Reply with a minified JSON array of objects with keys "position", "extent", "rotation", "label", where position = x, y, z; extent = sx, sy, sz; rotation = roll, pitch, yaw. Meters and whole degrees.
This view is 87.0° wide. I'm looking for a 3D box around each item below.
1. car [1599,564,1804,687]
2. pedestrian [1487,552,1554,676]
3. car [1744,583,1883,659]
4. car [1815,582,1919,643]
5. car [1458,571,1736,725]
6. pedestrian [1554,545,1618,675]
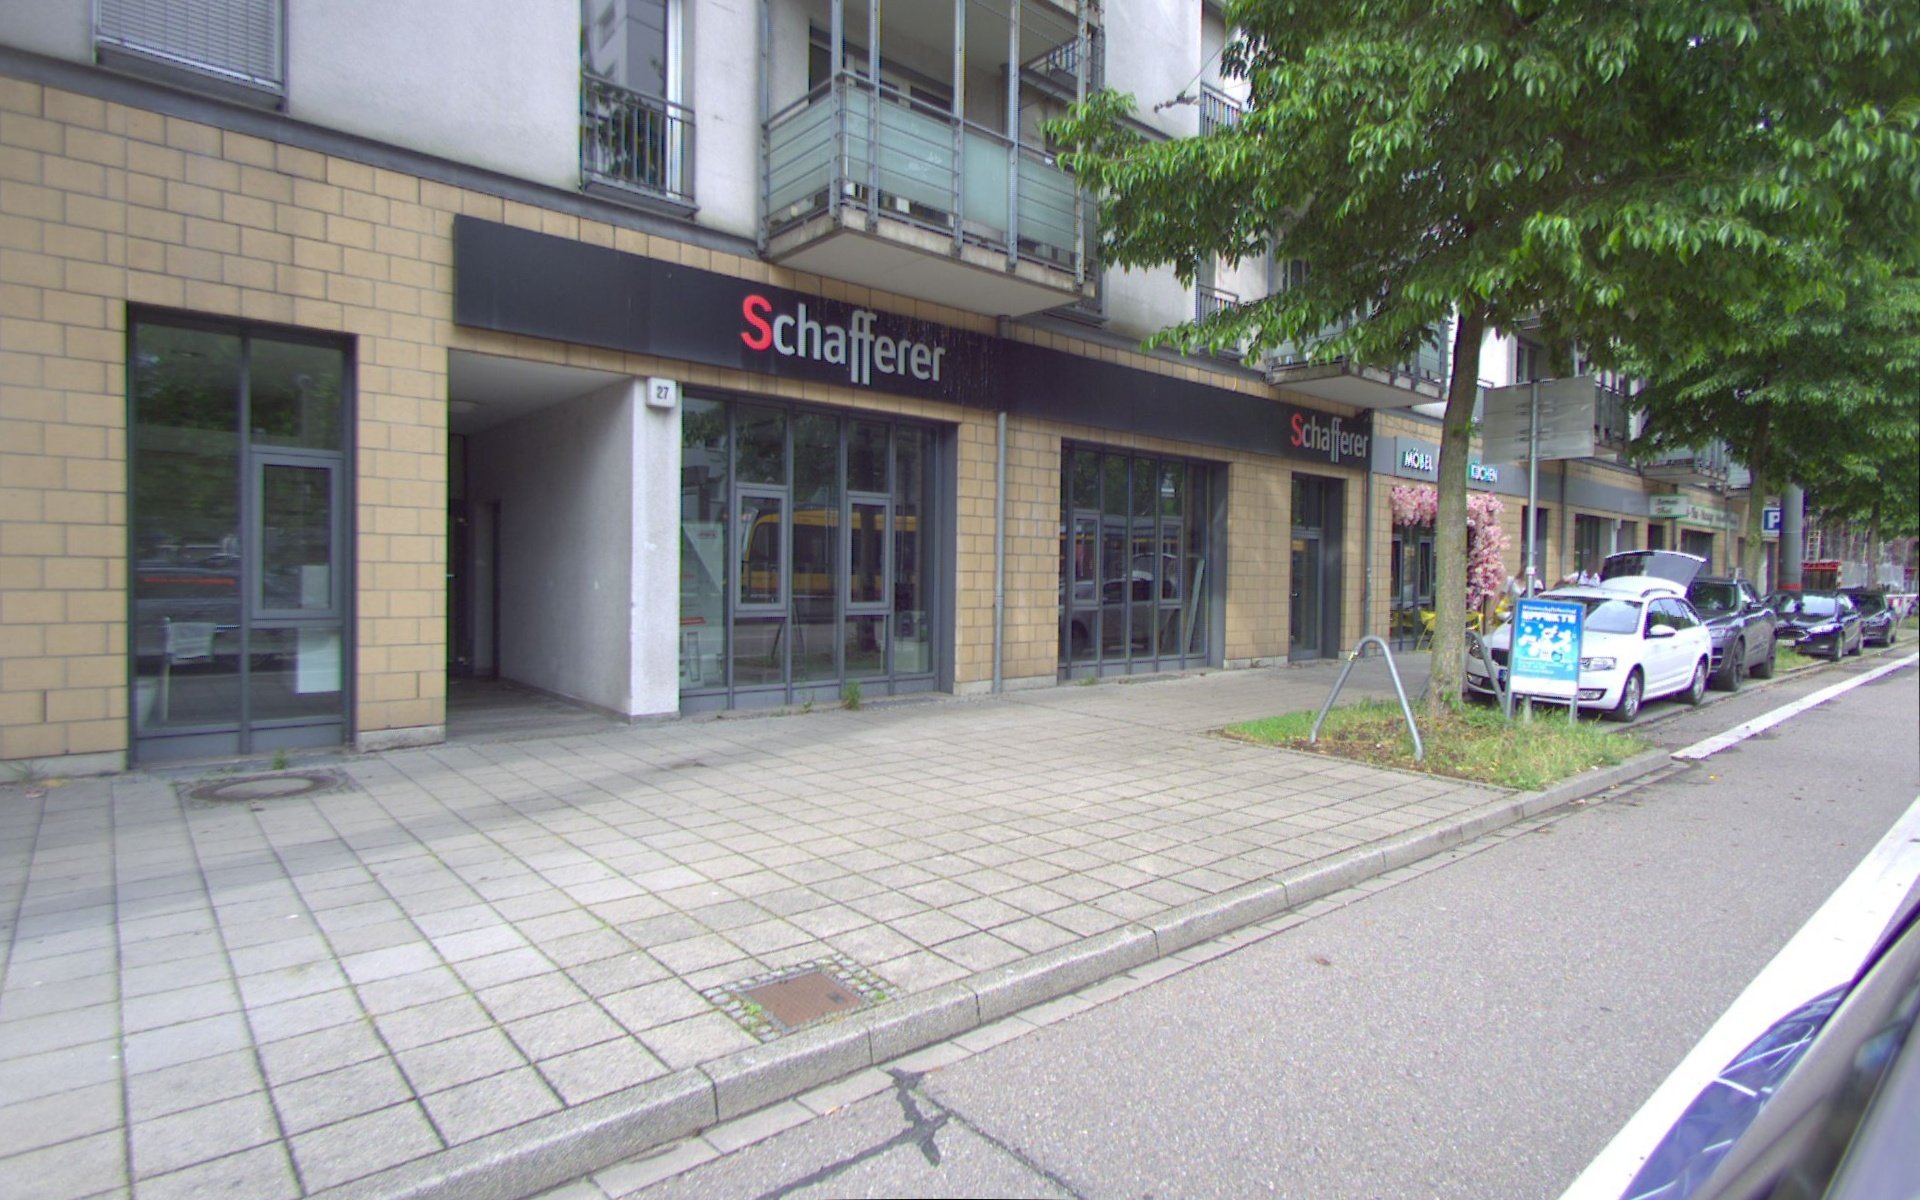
[{"position":[11.800,0.316,16.032],"extent":[3.732,1.630,1.738],"rotation":[-1,5,-41],"label":"car"},{"position":[8.163,0.178,14.738],"extent":[0.726,1.738,0.616],"rotation":[-1,3,-43],"label":"pedestrian"},{"position":[18.641,0.385,22.048],"extent":[4.095,1.394,1.612],"rotation":[-1,5,-41],"label":"car"},{"position":[24.162,0.286,26.874],"extent":[3.603,1.417,1.612],"rotation":[-1,5,-41],"label":"car"},{"position":[8.128,0.472,12.759],"extent":[4.233,1.539,1.738],"rotation":[-1,5,-41],"label":"car"},{"position":[9.440,0.135,15.257],"extent":[0.588,1.907,0.656],"rotation":[0,1,-40],"label":"pedestrian"}]
